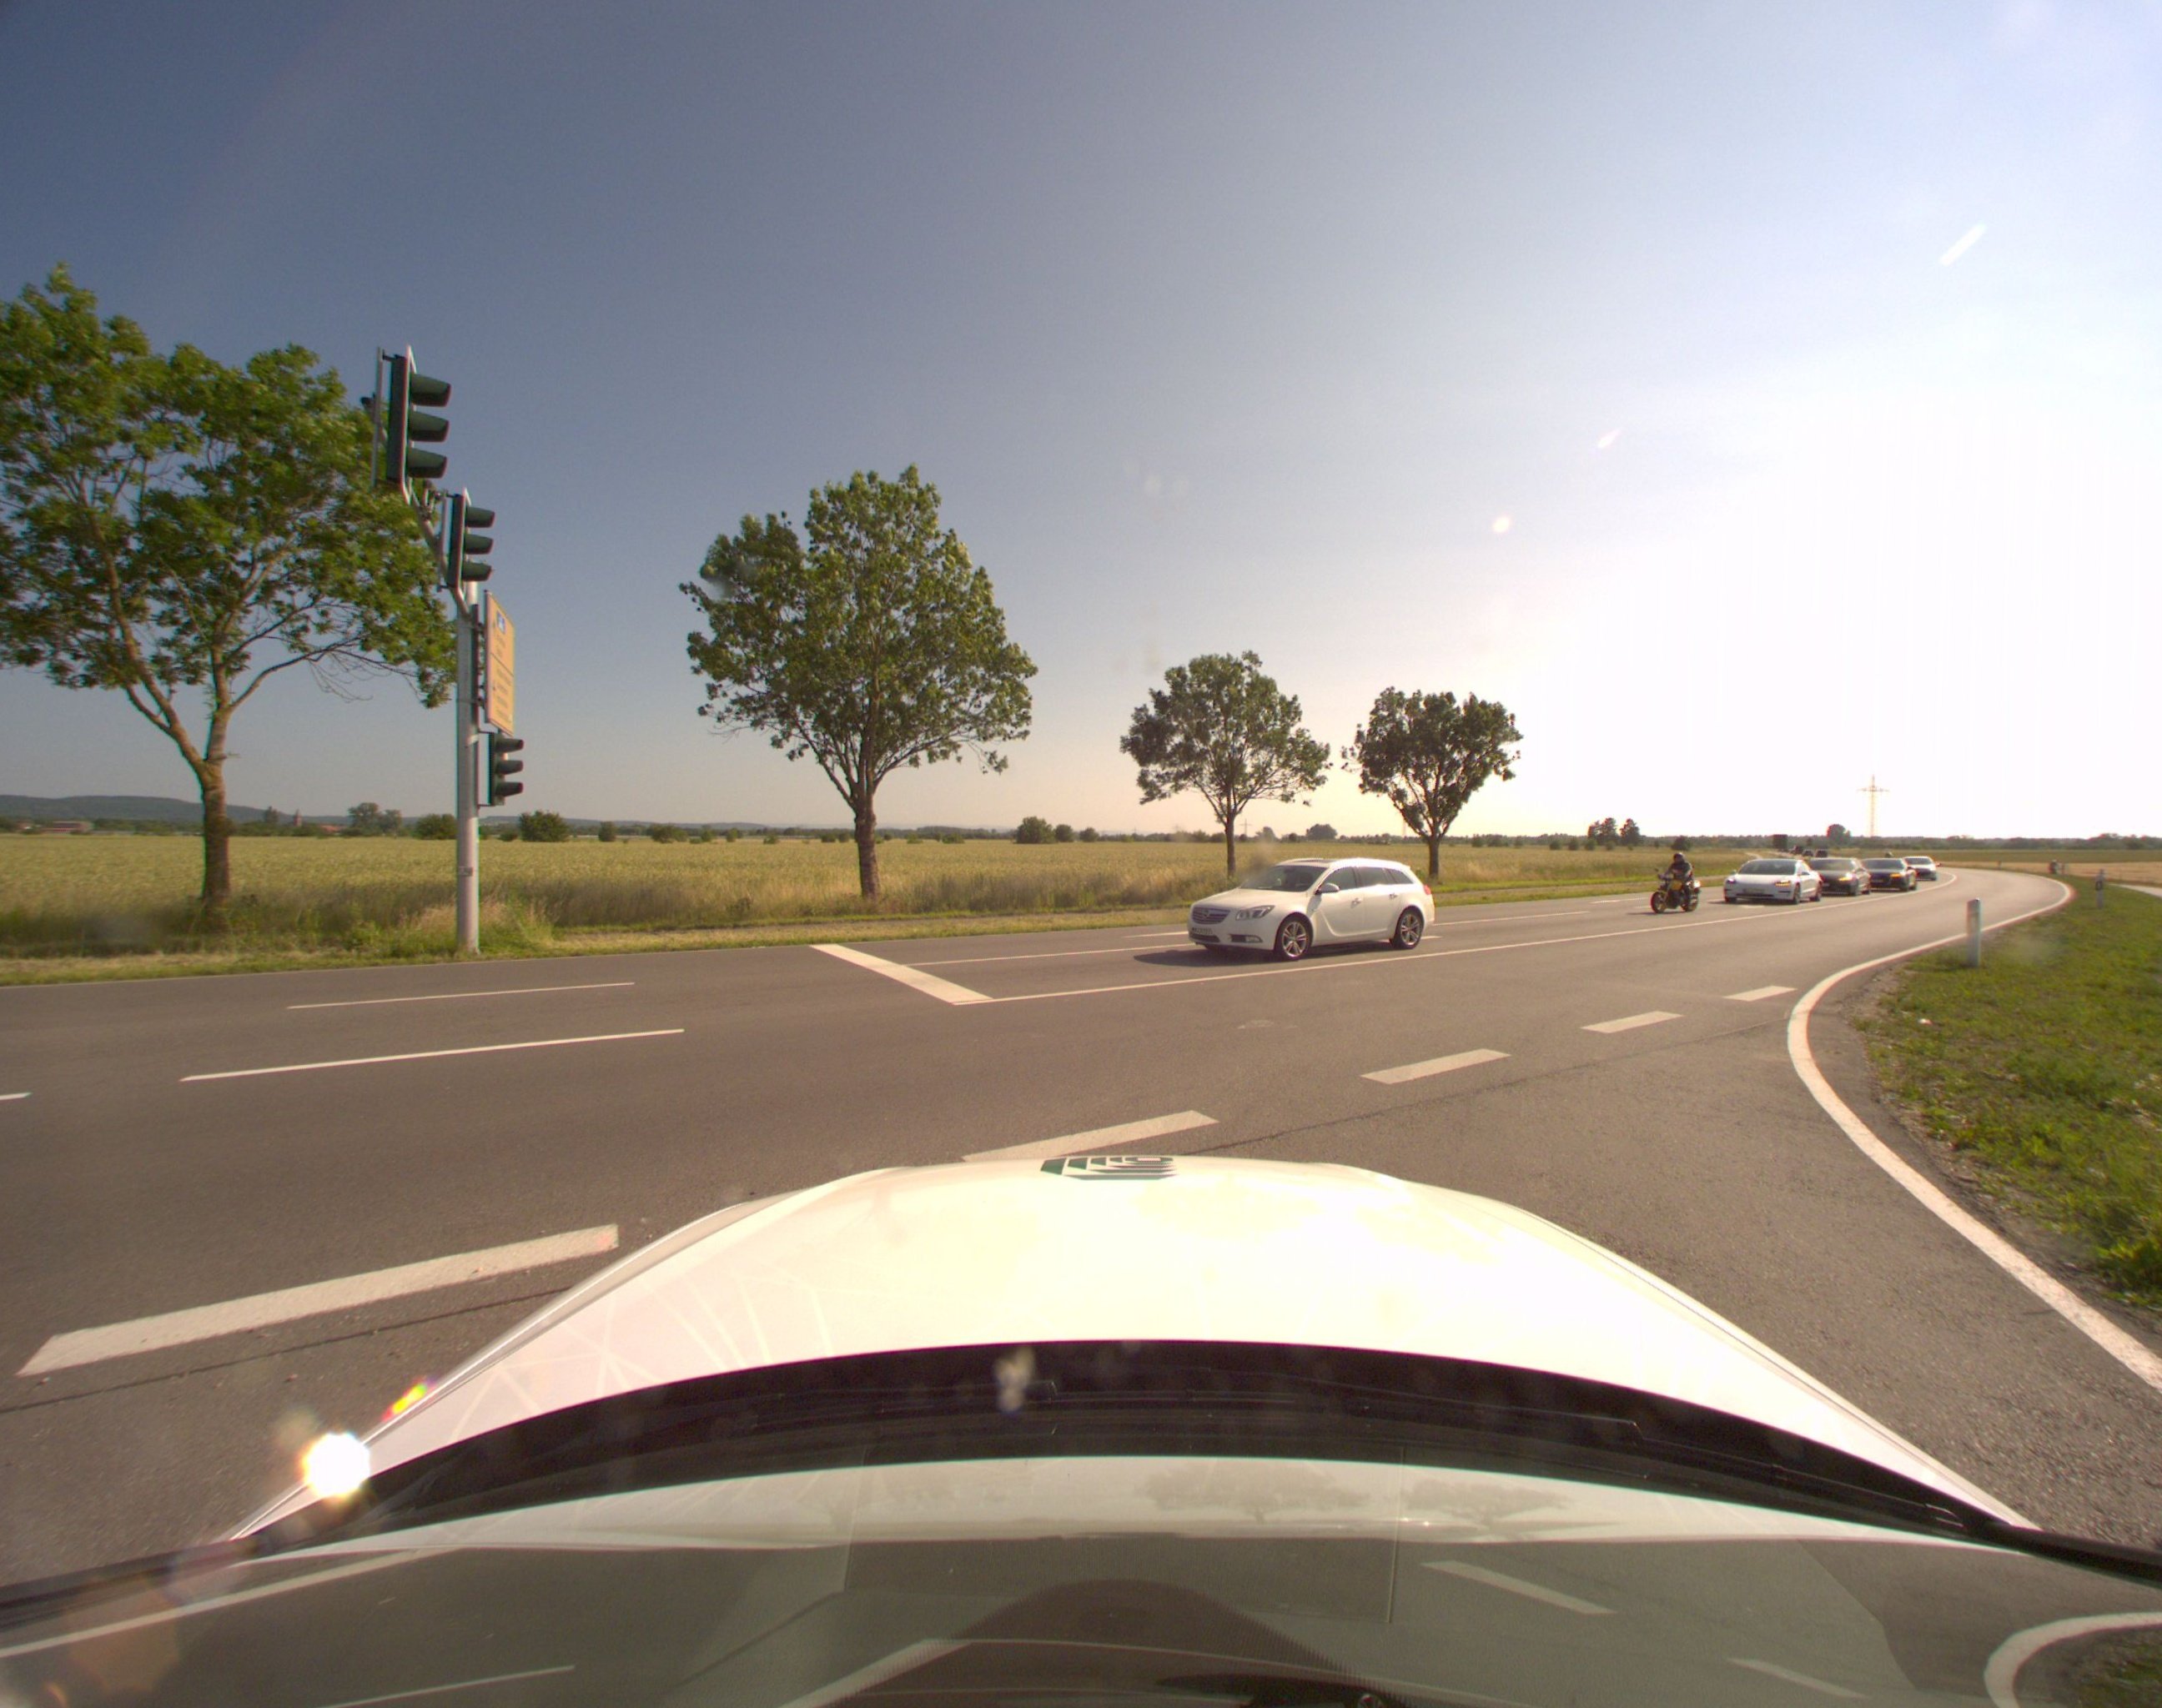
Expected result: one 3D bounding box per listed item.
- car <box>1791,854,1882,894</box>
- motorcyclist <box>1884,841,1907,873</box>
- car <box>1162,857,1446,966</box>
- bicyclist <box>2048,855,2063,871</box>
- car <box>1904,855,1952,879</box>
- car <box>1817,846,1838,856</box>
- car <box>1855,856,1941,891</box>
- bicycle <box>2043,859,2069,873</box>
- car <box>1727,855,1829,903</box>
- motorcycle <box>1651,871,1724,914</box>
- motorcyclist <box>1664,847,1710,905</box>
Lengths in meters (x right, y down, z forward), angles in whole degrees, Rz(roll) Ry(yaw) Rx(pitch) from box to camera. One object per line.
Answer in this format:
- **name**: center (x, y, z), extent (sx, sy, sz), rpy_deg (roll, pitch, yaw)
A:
- **car**: center (29.477, 0.735, 31.741), extent (4.325, 1.461, 1.875), rpy_deg (0, 0, -37)
- **motorcyclist**: center (39.494, 0.142, 39.475), extent (0.851, 1.495, 0.672), rpy_deg (0, 0, -37)
- **car**: center (3.726, 0.798, 13.283), extent (4.724, 1.492, 1.747), rpy_deg (0, 0, -32)
- **bicyclist**: center (88.439, 0.825, 73.895), extent (0.631, 1.457, 0.822), rpy_deg (3, 2, 34)
- **car**: center (52.286, 0.780, 50.260), extent (4.019, 1.403, 1.672), rpy_deg (0, -1, -39)
- **car**: center (154.803, -0.578, 168.870), extent (1.823, 1.833, 4.493), rpy_deg (3, 3, 24)
- **car**: center (35.805, 0.797, 35.661), extent (4.816, 1.436, 1.876), rpy_deg (0, 0, -35)
- **bicycle**: center (88.355, 1.057, 73.831), extent (0.837, 1.141, 2.221), rpy_deg (3, 2, 33)
- **car**: center (23.150, 0.758, 27.000), extent (4.297, 1.466, 1.874), rpy_deg (0, 0, -40)
- **motorcycle**: center (16.453, 1.005, 22.080), extent (2.439, 1.043, 0.890), rpy_deg (0, 0, -36)
- **motorcyclist**: center (16.363, 0.569, 21.985), extent (1.186, 1.515, 0.674), rpy_deg (0, 0, -35)
